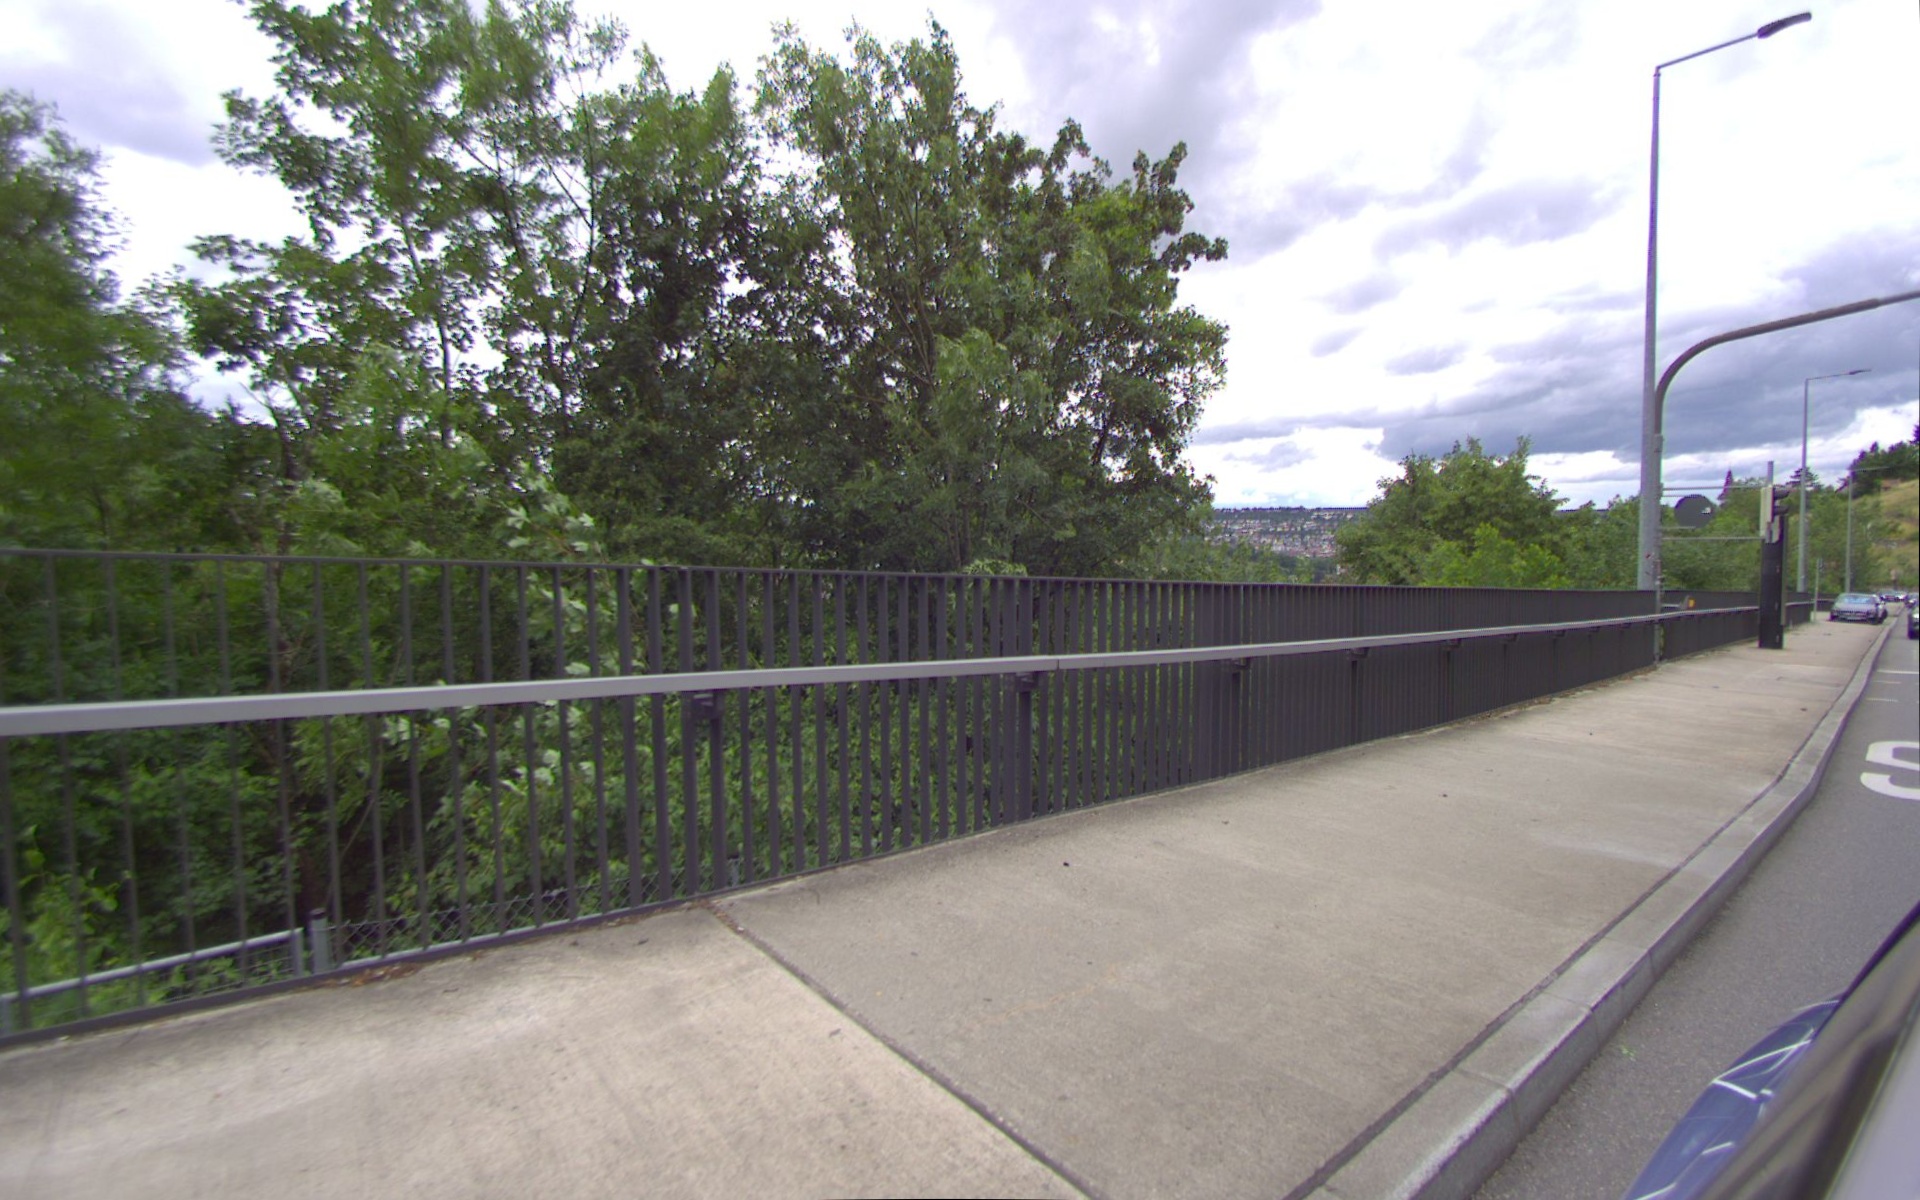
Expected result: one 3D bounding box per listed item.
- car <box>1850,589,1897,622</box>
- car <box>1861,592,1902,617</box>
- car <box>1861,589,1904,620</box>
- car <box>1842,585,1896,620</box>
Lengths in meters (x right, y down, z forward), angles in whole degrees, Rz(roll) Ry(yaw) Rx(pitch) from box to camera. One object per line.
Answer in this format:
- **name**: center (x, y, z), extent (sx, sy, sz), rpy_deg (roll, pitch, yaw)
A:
- **car**: center (48.732, 0.249, 53.950), extent (1.727, 1.588, 4.551), rpy_deg (3, 2, 44)
- **car**: center (58.573, 0.235, 64.312), extent (1.823, 1.418, 4.253), rpy_deg (4, 3, 43)
- **car**: center (52.701, 0.229, 57.795), extent (1.660, 1.591, 4.188), rpy_deg (5, 4, 44)
- **car**: center (44.345, 0.096, 49.364), extent (1.758, 1.562, 4.357), rpy_deg (5, 4, 44)
